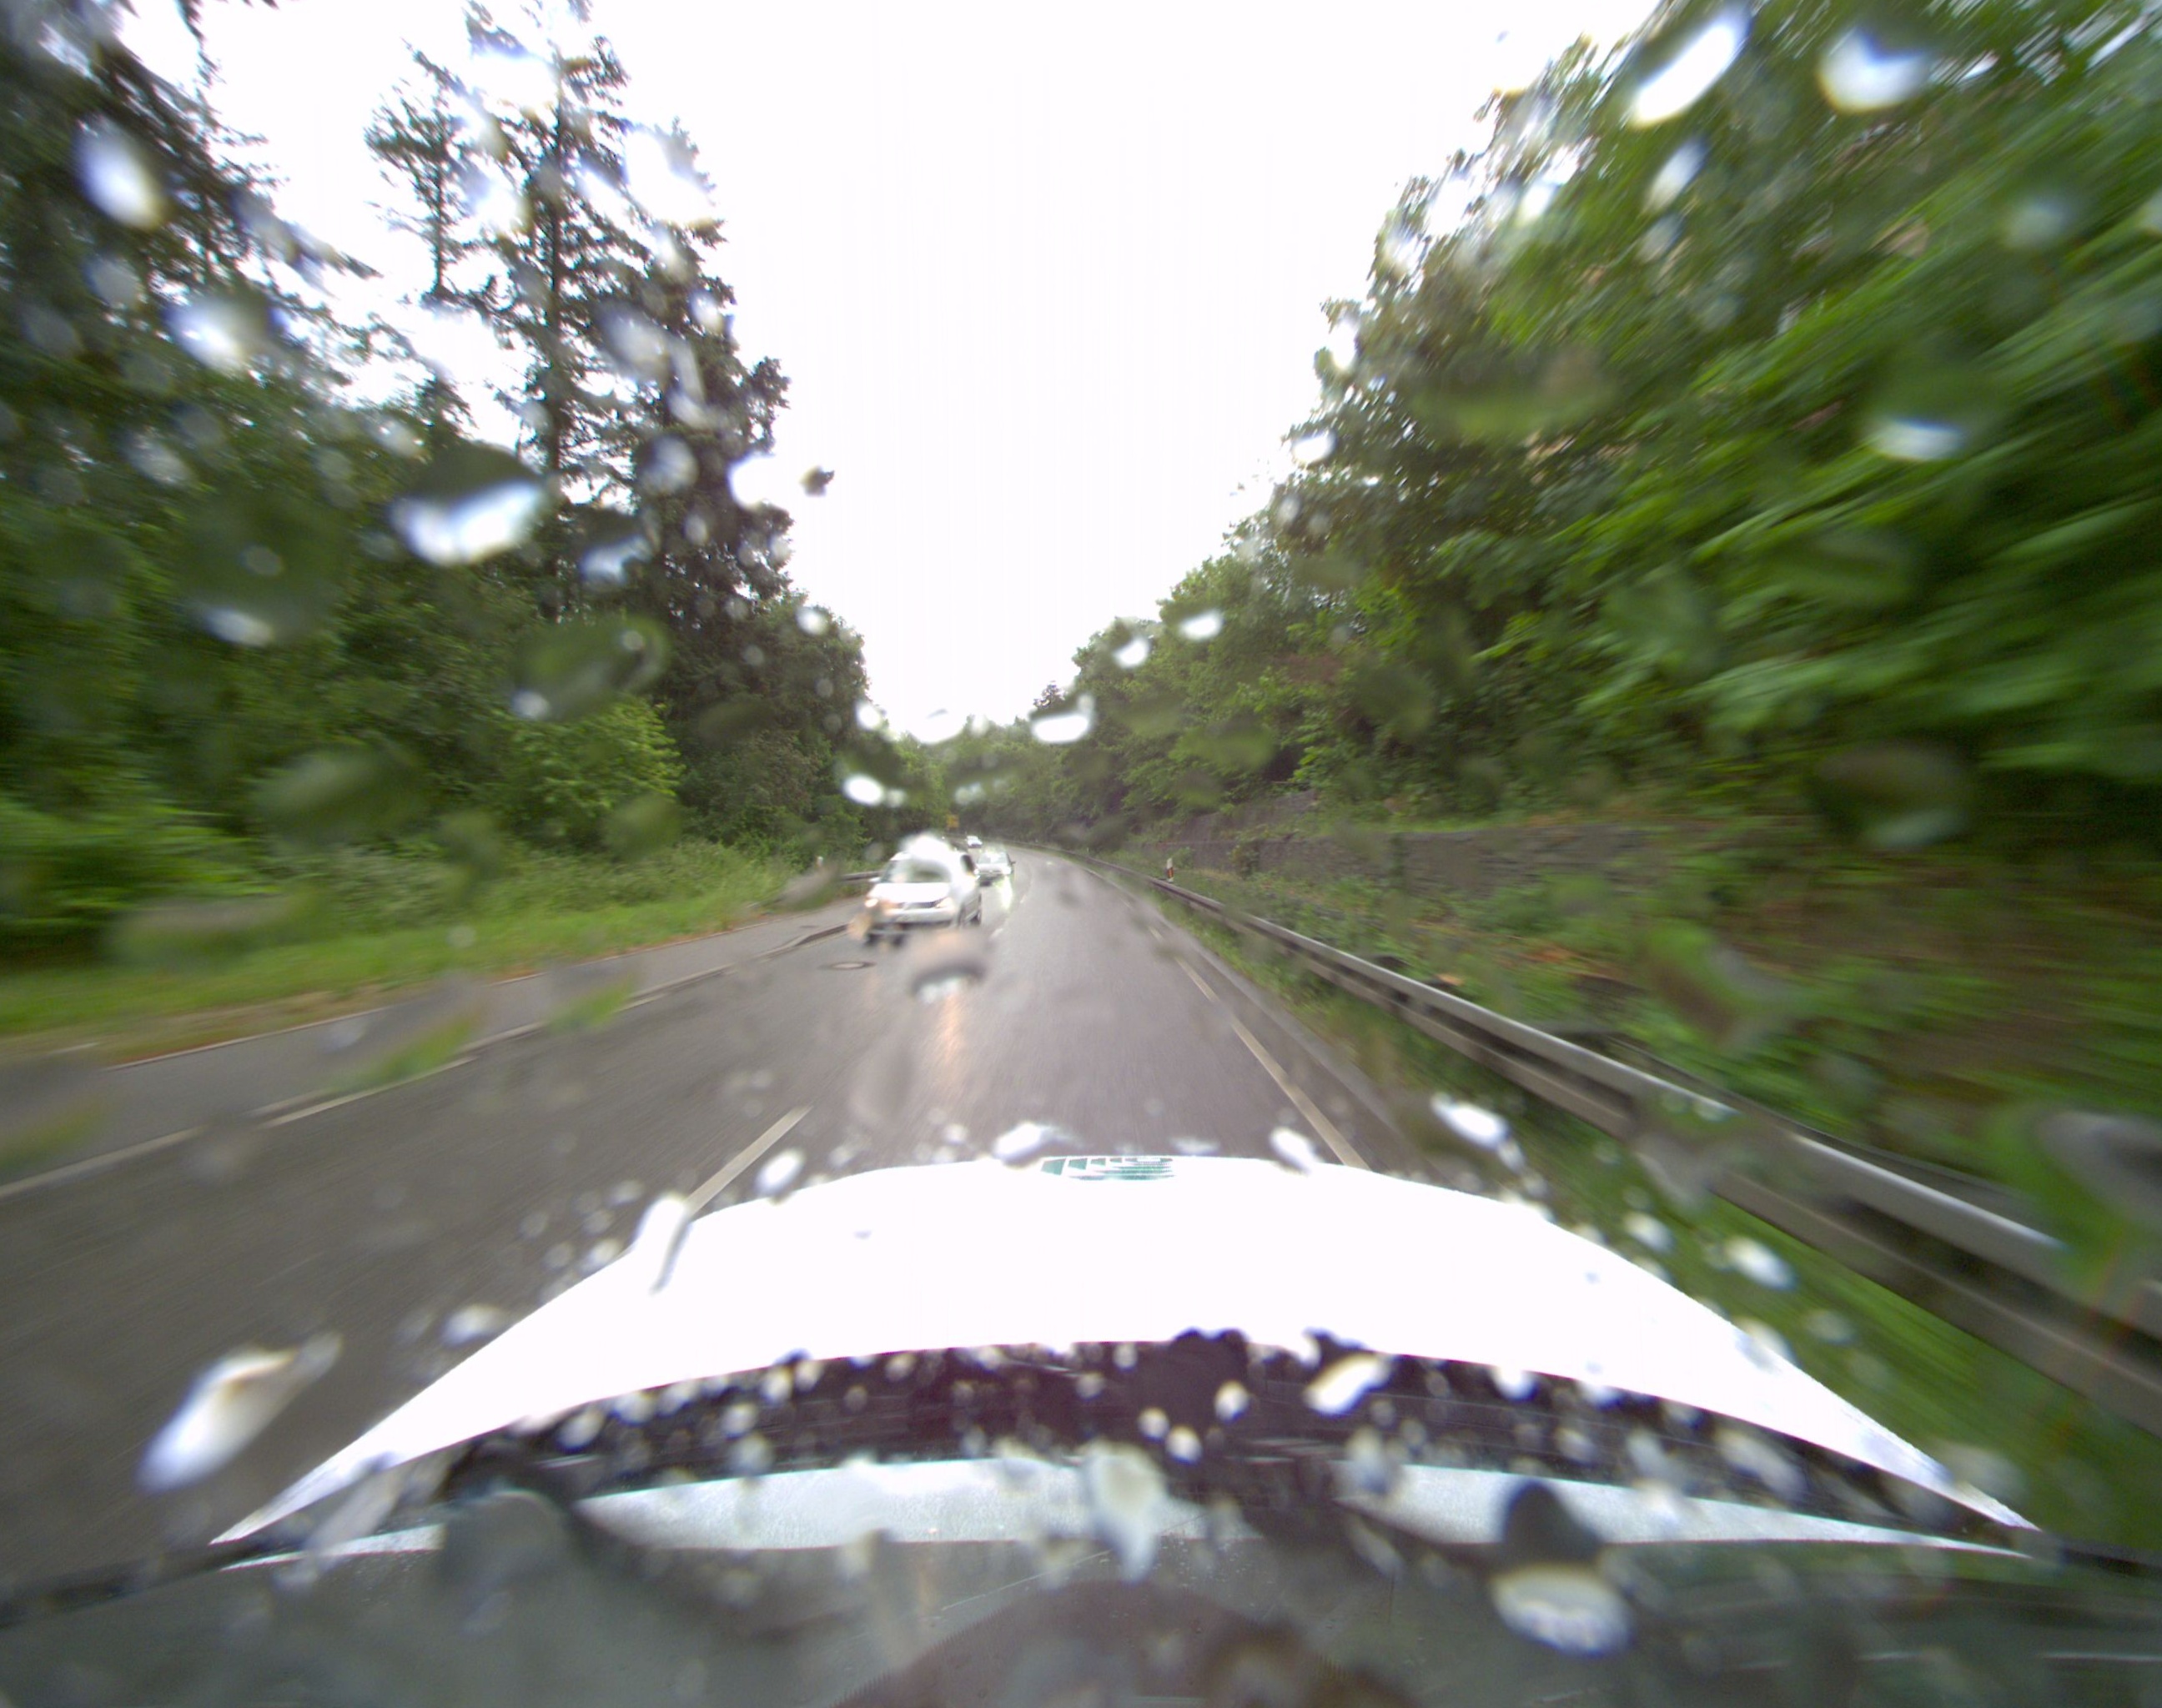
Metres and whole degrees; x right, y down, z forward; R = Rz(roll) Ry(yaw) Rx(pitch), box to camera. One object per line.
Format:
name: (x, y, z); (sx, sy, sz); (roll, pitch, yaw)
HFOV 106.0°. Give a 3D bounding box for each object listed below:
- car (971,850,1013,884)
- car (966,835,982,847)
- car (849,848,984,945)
car: (-4.080, 0.579, 37.393); (1.812, 1.434, 3.991); (-1, 0, -6)
car: (-14.019, -1.686, 106.315); (1.598, 1.409, 3.408); (0, 0, -15)
car: (-3.087, 0.733, 16.128); (1.809, 1.648, 4.130); (-1, 0, -1)
